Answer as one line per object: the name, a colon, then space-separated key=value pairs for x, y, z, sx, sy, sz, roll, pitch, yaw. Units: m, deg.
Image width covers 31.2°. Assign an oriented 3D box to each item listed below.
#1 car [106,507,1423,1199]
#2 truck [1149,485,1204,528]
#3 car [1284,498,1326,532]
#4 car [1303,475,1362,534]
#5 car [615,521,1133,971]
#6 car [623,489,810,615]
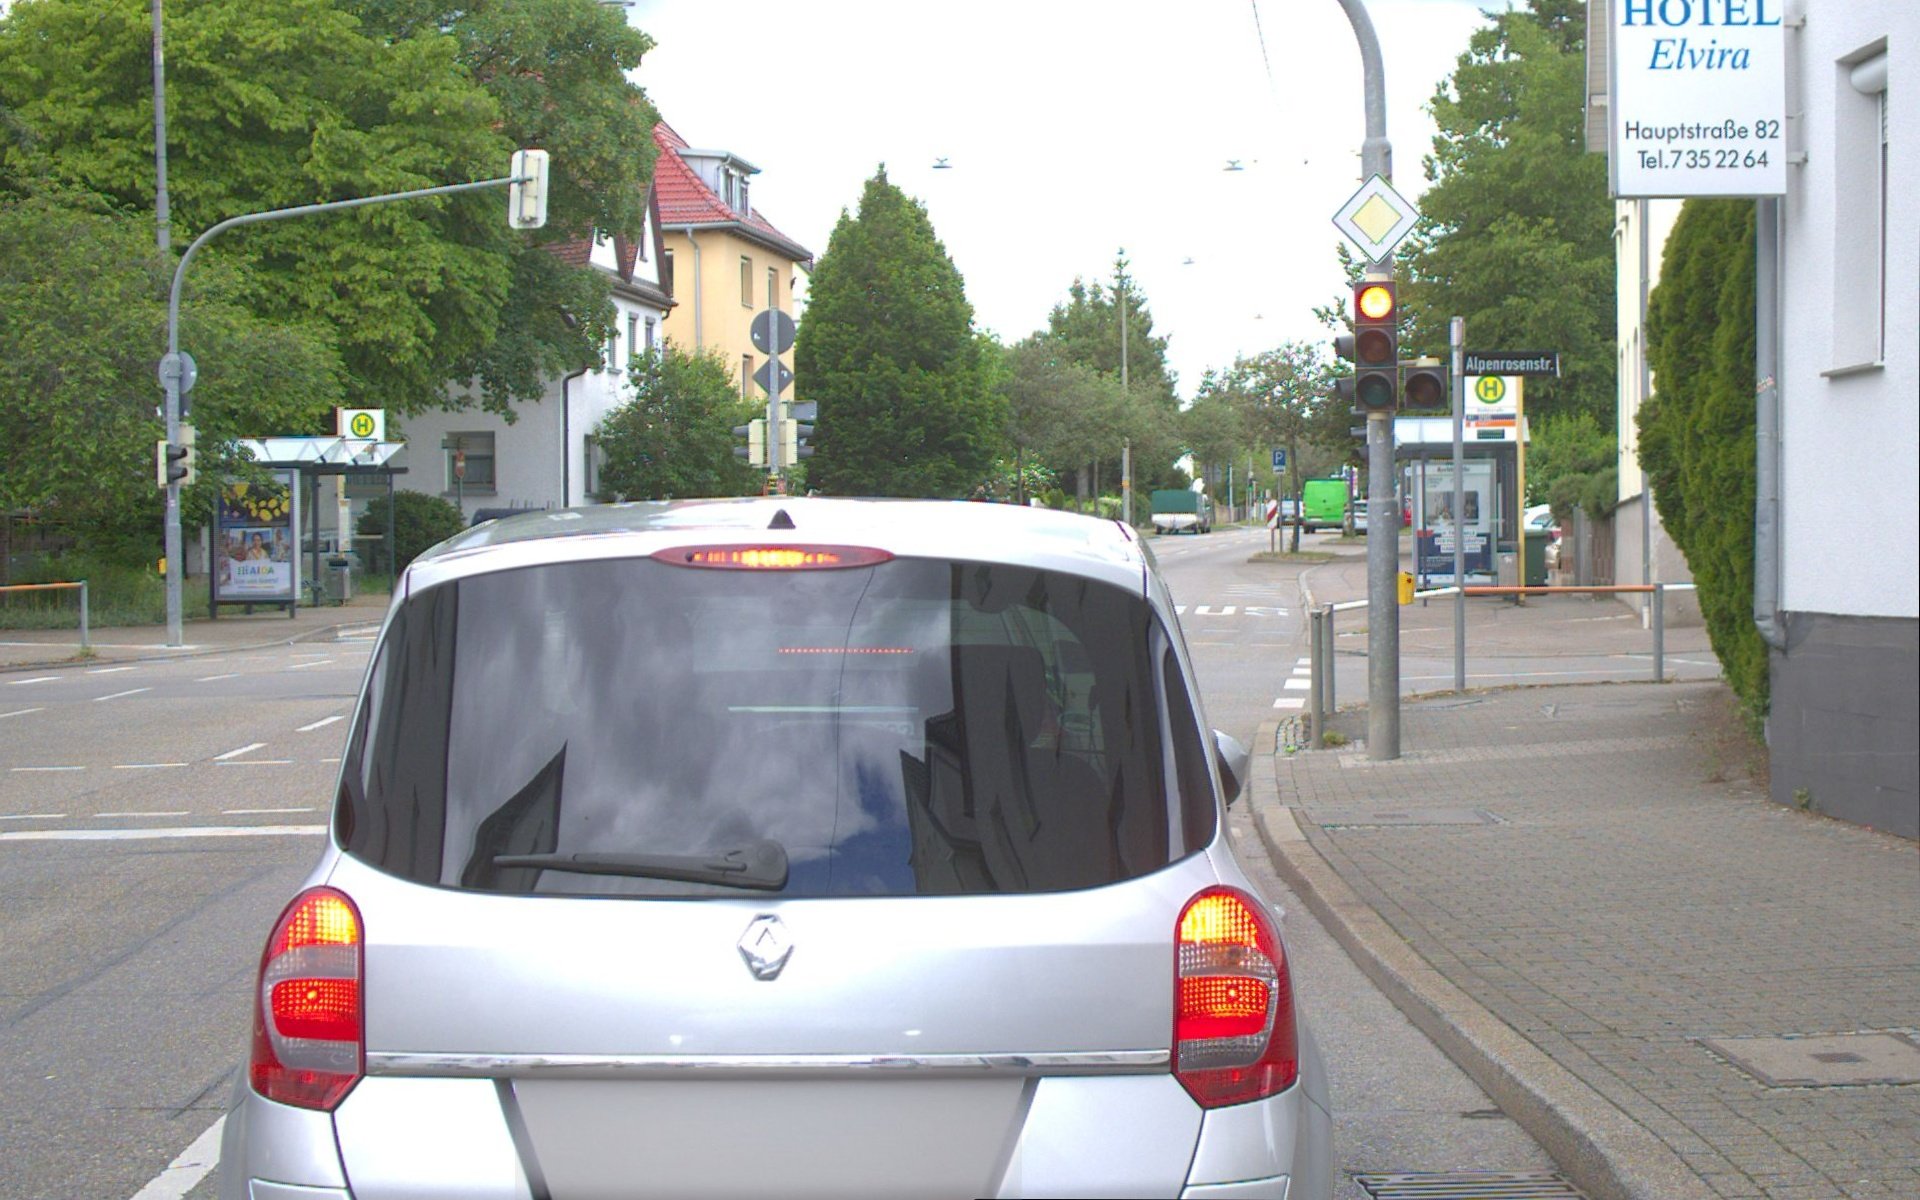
car: x=-0.298 y=0.613 z=6.604 sx=1.755 sy=1.525 sz=4.000 roll=0 pitch=1 yaw=-1
truck: x=10.503 y=-4.503 z=166.502 sx=2.102 sy=2.007 sz=5.745 roll=1 pitch=1 yaw=9
car: x=18.327 y=-4.509 z=182.627 sx=1.858 sy=1.742 sz=3.998 roll=1 pitch=1 yaw=11
car: x=16.449 y=-4.199 z=151.524 sx=2.060 sy=2.503 sz=5.593 roll=1 pitch=1 yaw=11
car: x=-0.328 y=0.469 z=13.634 sx=1.755 sy=1.525 sz=3.797 roll=0 pitch=1 yaw=-1
car: x=-3.788 y=-0.776 z=54.191 sx=1.927 sy=1.767 sz=3.999 roll=-4 pitch=1 yaw=10
